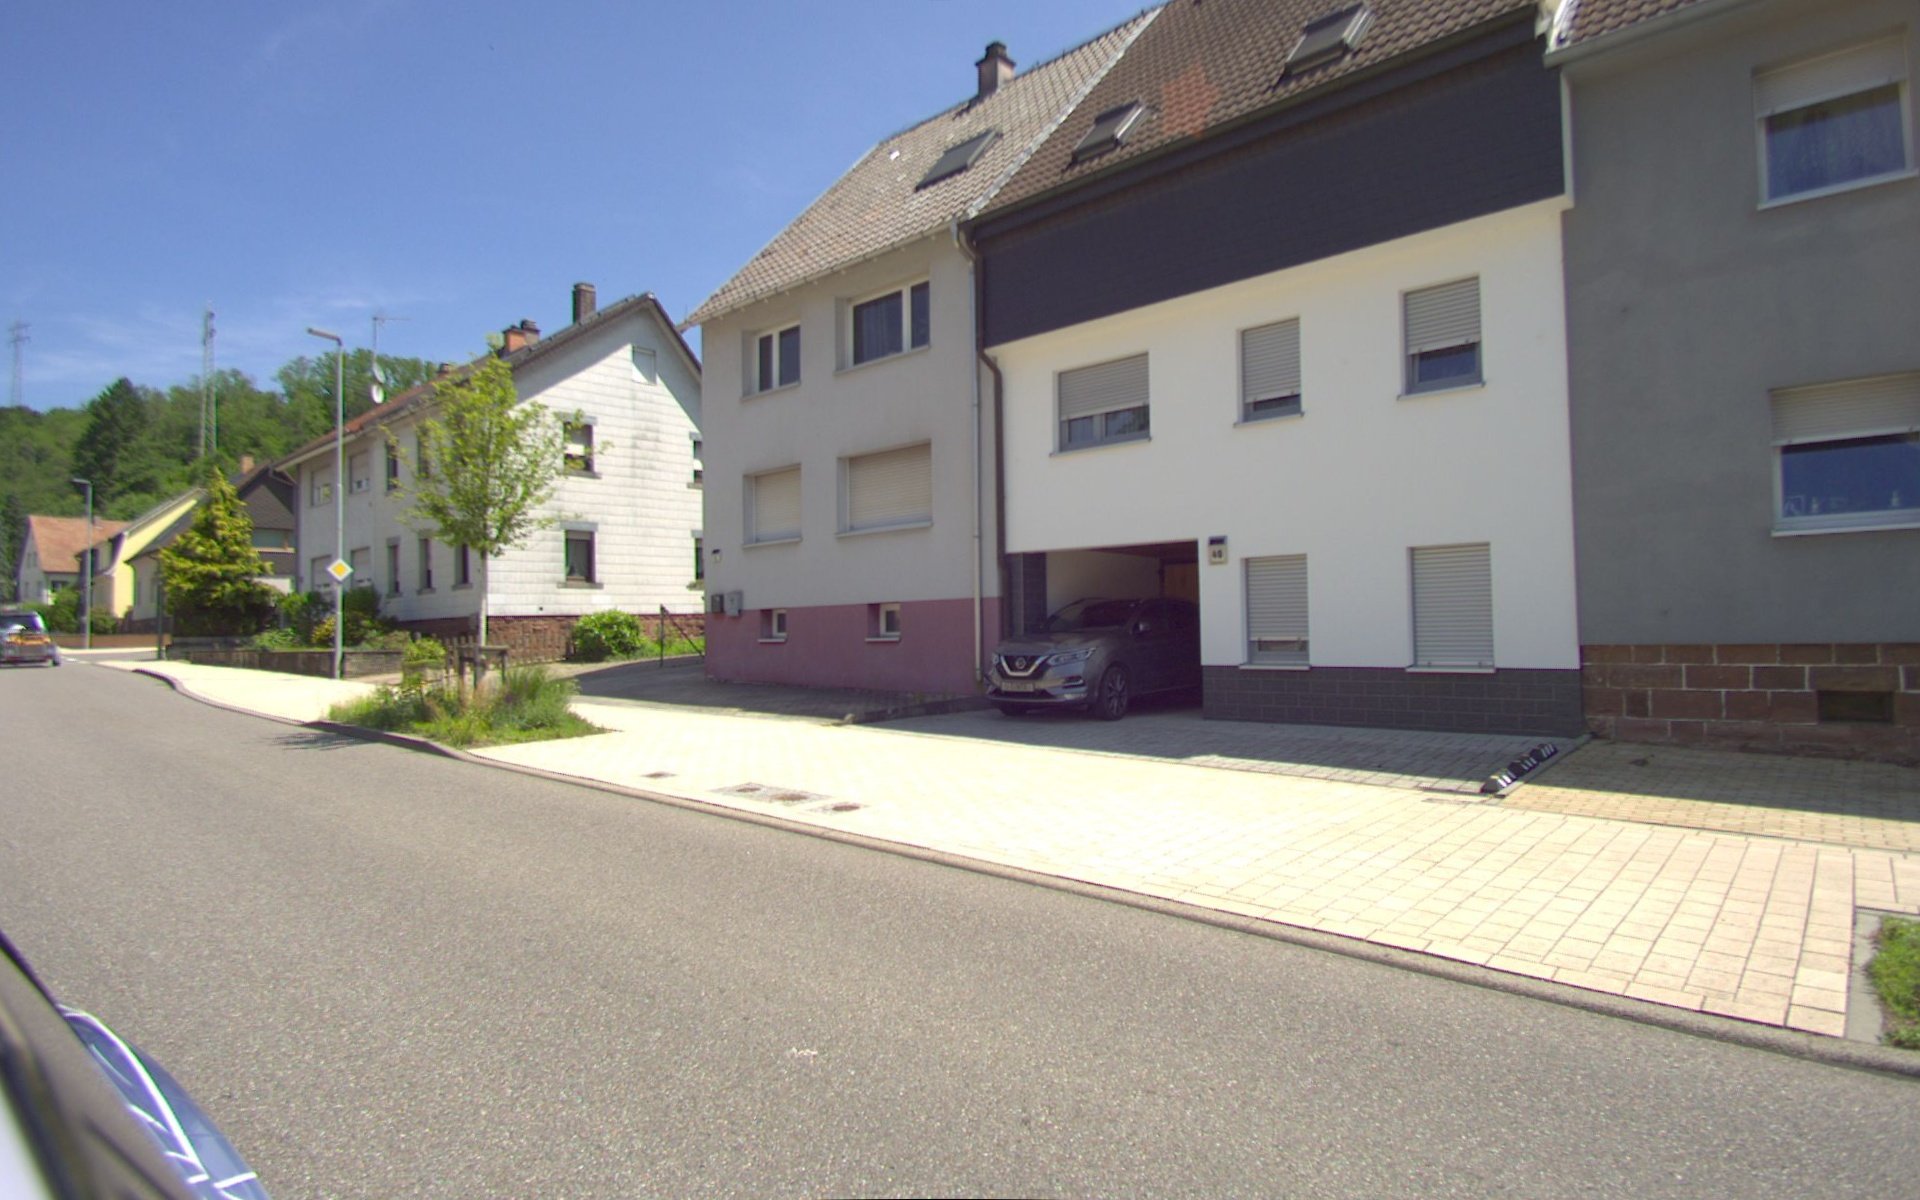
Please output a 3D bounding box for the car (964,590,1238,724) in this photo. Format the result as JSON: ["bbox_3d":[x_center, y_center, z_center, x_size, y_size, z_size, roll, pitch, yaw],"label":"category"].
[{"bbox_3d":[2.044,0.674,13.893,1.832,1.557,3.945,-2,-1,42],"label":"car"}]

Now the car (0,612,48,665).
[{"bbox_3d":[-35.466,1.422,37.688,4.578,1.875,1.868,-2,-2,44],"label":"car"}]

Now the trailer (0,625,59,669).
[{"bbox_3d":[-32.397,1.594,34.956,4.403,1.406,1.557,-2,-1,43],"label":"trailer"}]
